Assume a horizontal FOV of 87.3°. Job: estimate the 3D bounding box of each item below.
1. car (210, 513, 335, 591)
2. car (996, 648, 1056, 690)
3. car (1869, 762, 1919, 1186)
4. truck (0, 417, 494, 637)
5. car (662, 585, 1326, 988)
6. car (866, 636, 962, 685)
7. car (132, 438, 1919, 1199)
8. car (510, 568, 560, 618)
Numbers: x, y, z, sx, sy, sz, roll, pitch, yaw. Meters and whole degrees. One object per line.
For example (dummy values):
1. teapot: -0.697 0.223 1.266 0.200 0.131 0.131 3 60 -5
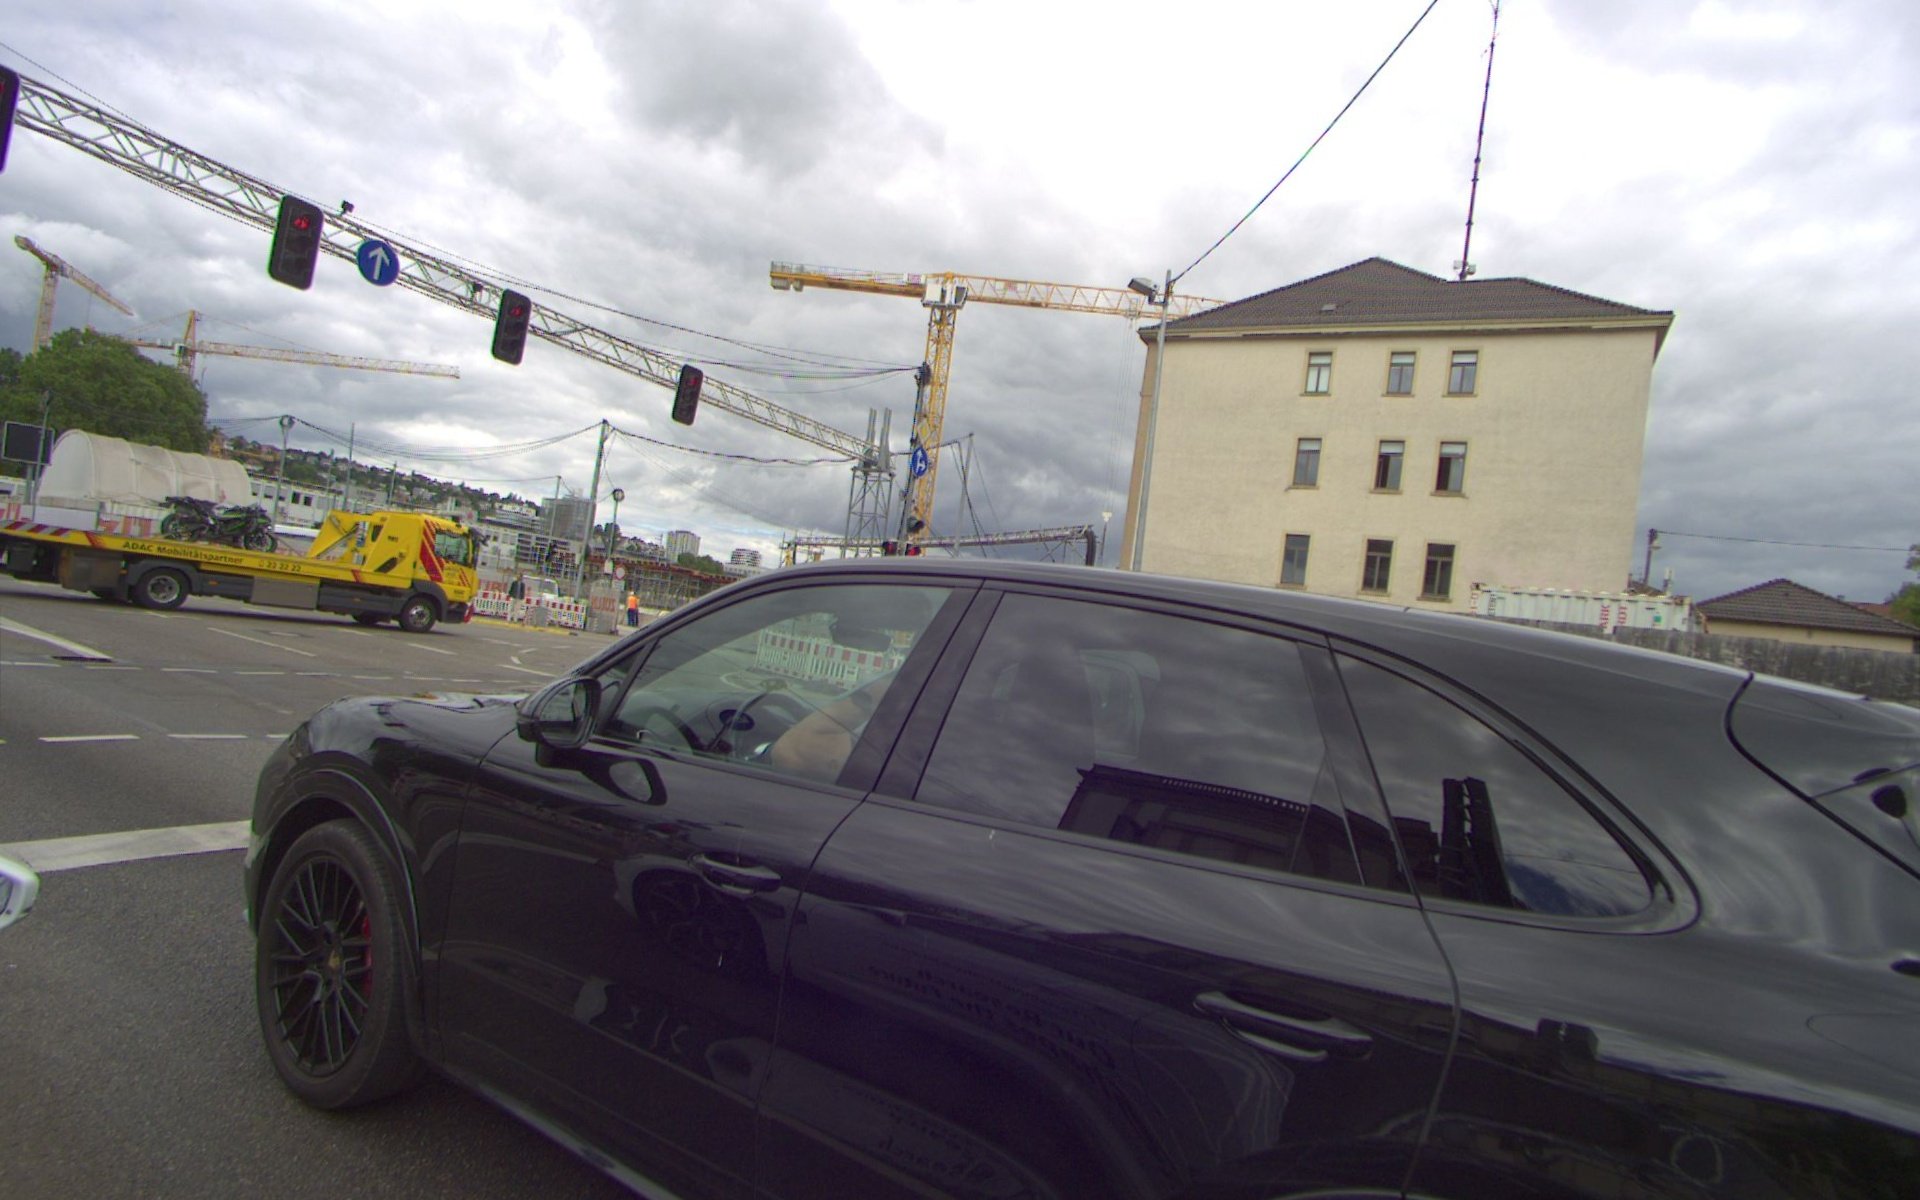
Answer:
1. car: -29.567 -2.044 43.365 1.660 2.692 3.979 6 -2 45
2. car: 3.680 3.840 55.571 1.652 1.971 3.999 7 -2 27
3. car: 5.775 1.678 2.567 4.729 1.644 1.828 6 -2 32
4. truck: -14.293 -1.147 20.103 2.582 2.835 9.005 7 -2 29
5. car: 0.124 0.977 6.661 3.934 1.644 1.679 6 -2 32
6. car: -1.766 2.418 39.833 1.655 1.512 3.993 6 -2 34
7. car: -0.095 0.656 2.699 4.410 1.735 1.828 6 -2 32
8. car: -19.157 -0.327 45.293 1.757 1.976 3.108 8 -2 -25
